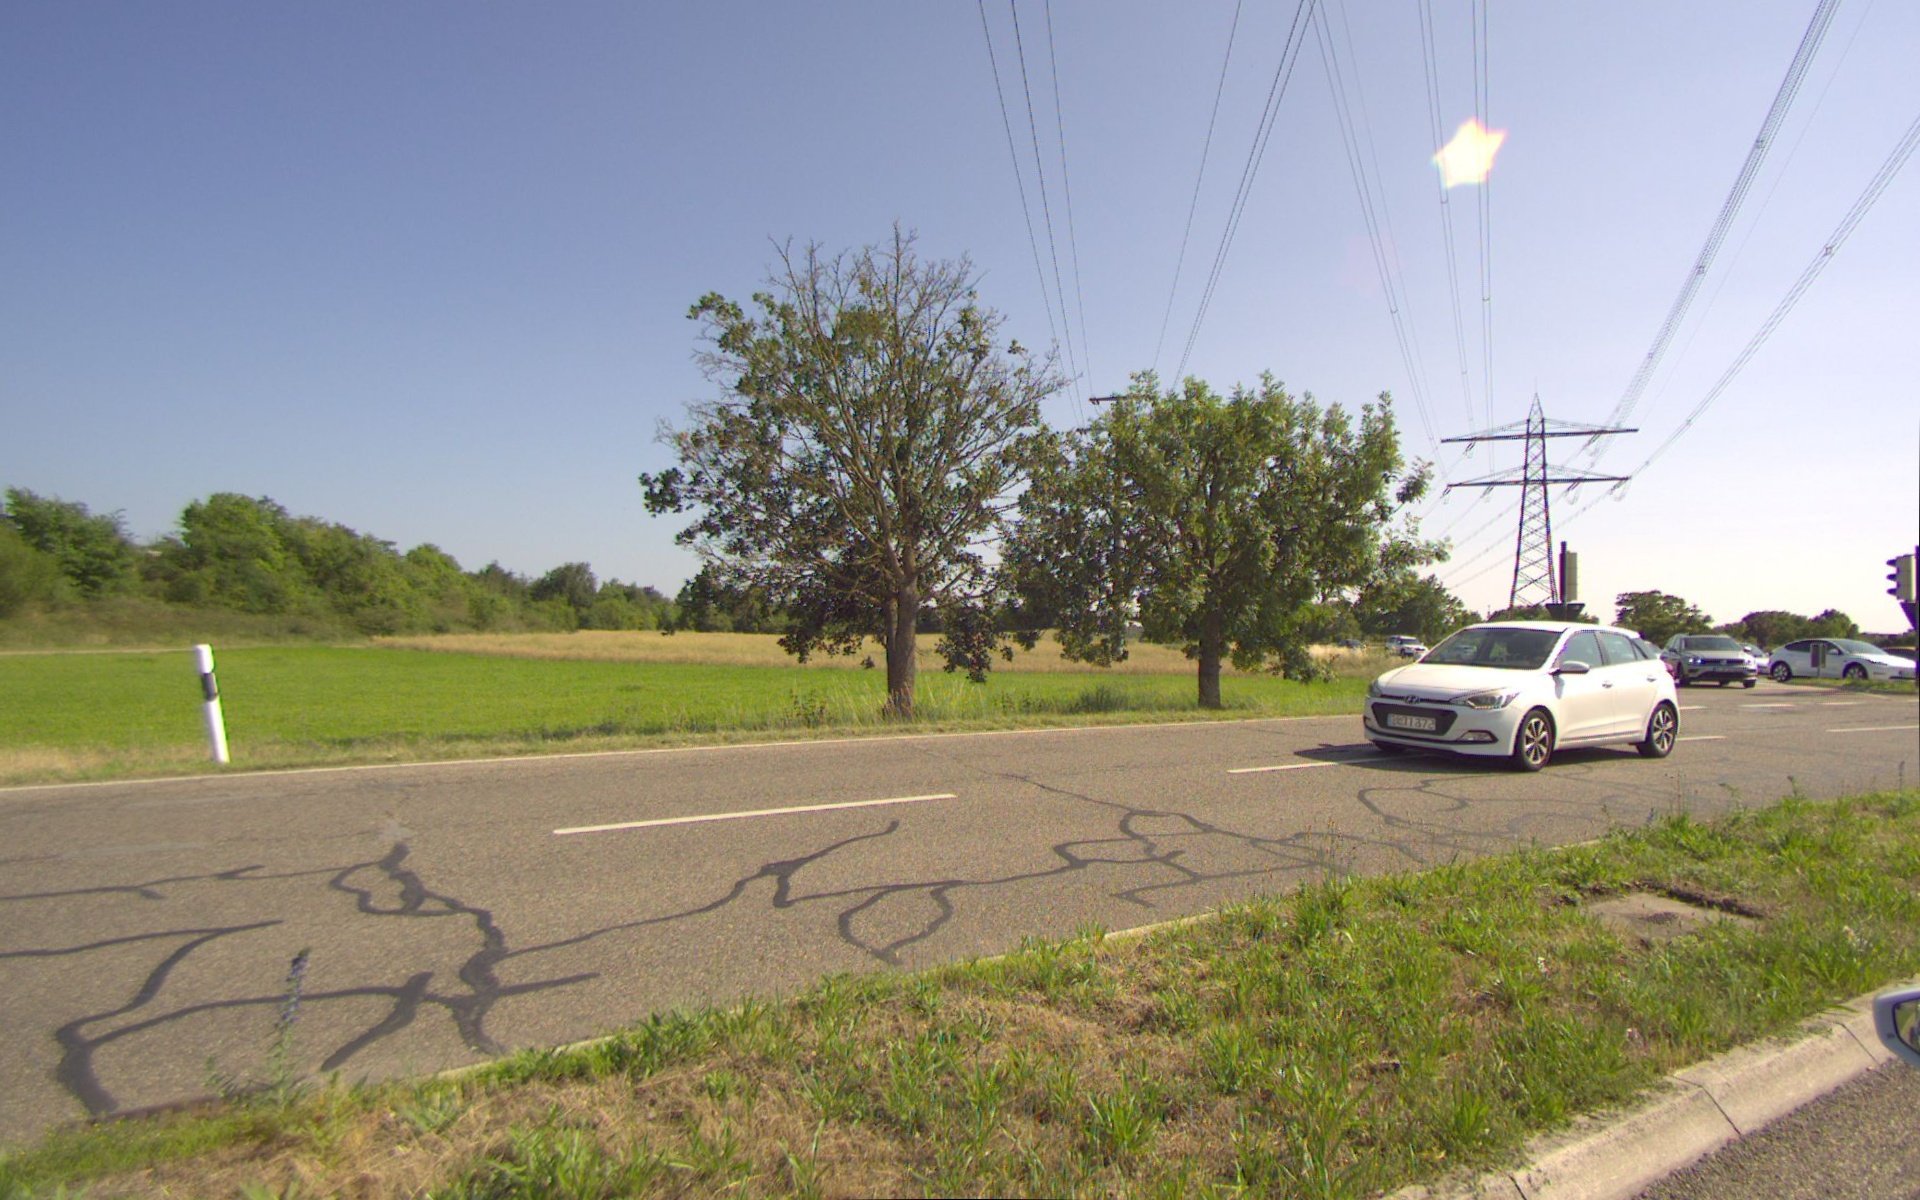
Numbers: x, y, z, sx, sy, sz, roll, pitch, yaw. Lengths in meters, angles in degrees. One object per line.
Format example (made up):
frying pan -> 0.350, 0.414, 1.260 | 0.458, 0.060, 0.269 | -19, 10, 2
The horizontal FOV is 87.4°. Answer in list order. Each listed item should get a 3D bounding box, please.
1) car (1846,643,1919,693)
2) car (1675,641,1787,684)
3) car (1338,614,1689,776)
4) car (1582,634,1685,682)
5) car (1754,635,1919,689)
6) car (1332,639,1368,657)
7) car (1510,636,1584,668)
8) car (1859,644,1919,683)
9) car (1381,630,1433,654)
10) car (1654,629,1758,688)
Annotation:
car -> 33.598, 2.382, 35.047 | 1.785, 1.673, 4.000 | 1, -1, -2
car -> 33.616, 2.694, 43.932 | 1.785, 1.673, 4.000 | 1, -1, -2
car -> 6.141, 0.940, 11.054 | 3.868, 1.484, 1.708 | 2, -1, -32
car -> 25.342, 2.134, 37.955 | 1.783, 1.673, 4.003 | 1, -2, 10
car -> 30.411, 2.087, 34.888 | 1.785, 1.673, 4.761 | 1, -1, -2
car -> 37.153, 4.570, 95.785 | 1.773, 1.539, 3.879 | 1, -2, -4
car -> 33.072, 2.910, 56.732 | 1.785, 1.673, 4.000 | 1, -1, -2
car -> 39.135, 2.587, 40.674 | 1.774, 1.539, 3.877 | 1, -2, -6
car -> 32.510, 3.059, 73.105 | 1.785, 1.505, 3.998 | 2, 0, -3
car -> 23.109, 1.766, 31.258 | 1.786, 1.673, 3.997 | 0, -2, 25
